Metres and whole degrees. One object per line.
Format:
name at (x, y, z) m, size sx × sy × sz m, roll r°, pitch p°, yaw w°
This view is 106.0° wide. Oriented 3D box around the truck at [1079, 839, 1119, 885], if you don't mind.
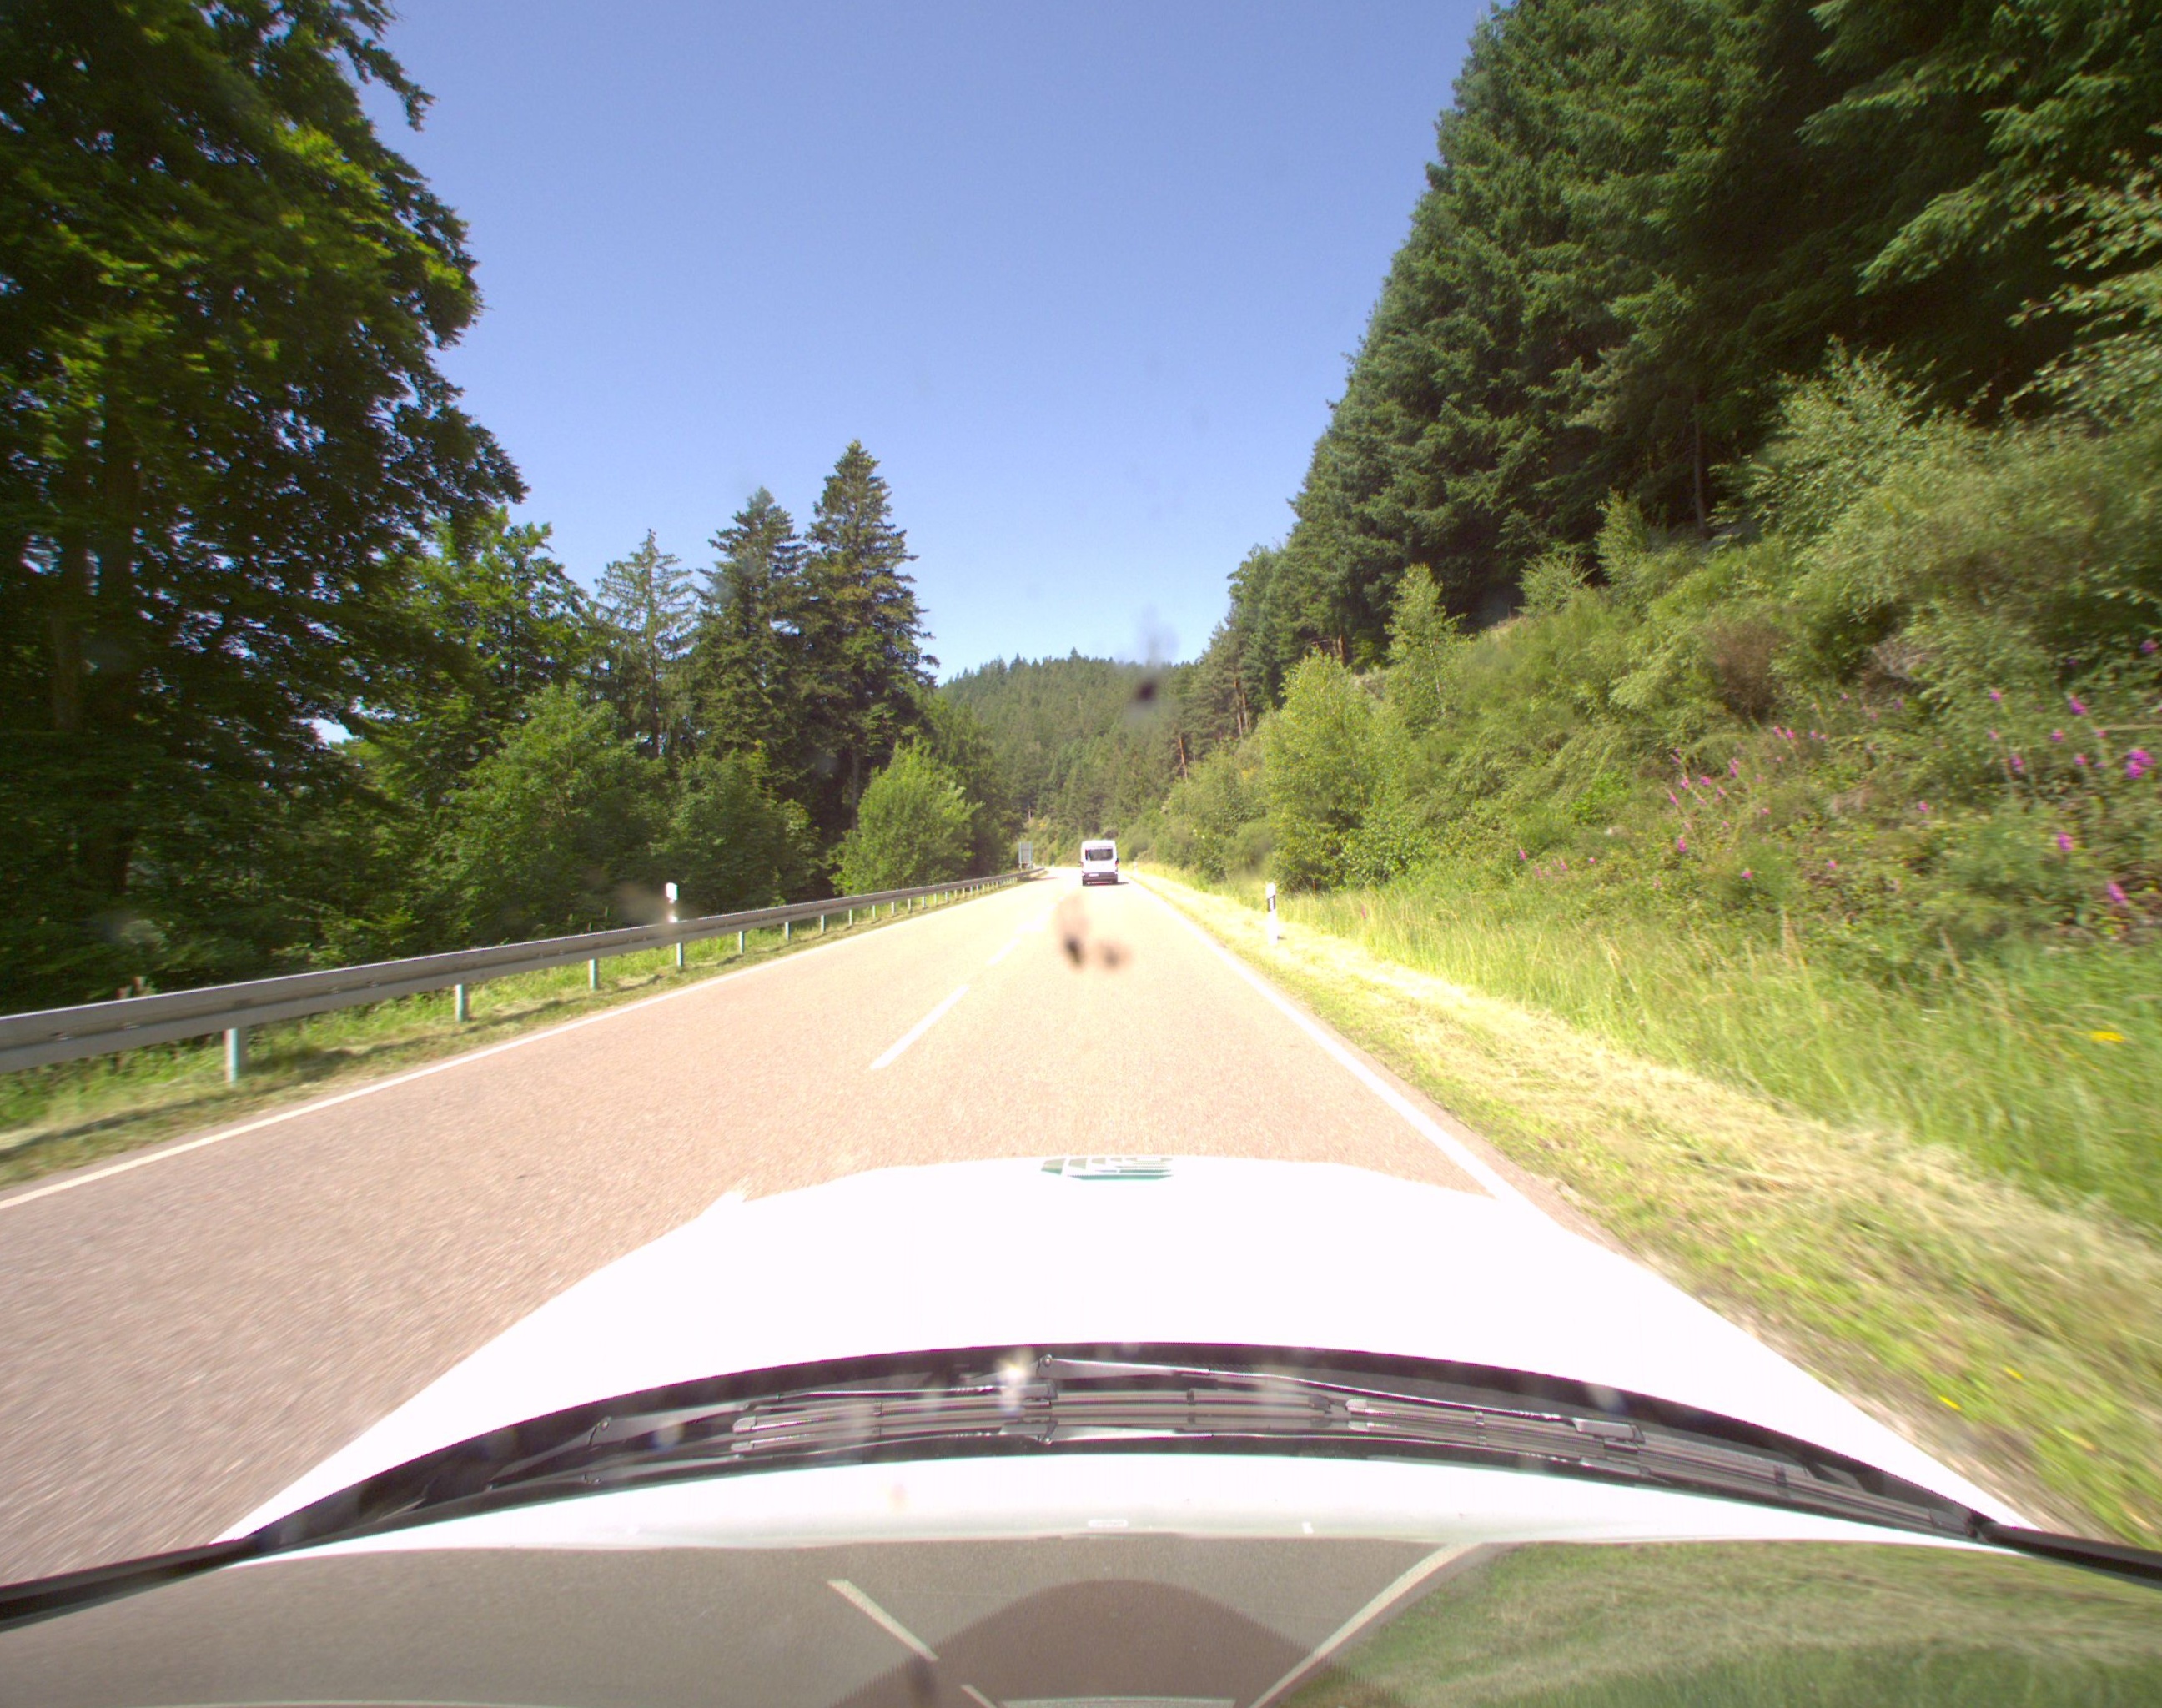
truck at (1.075, 0.453, 46.701) m, size 2.075 × 2.460 × 4.877 m, roll -2°, pitch -1°, yaw 2°
